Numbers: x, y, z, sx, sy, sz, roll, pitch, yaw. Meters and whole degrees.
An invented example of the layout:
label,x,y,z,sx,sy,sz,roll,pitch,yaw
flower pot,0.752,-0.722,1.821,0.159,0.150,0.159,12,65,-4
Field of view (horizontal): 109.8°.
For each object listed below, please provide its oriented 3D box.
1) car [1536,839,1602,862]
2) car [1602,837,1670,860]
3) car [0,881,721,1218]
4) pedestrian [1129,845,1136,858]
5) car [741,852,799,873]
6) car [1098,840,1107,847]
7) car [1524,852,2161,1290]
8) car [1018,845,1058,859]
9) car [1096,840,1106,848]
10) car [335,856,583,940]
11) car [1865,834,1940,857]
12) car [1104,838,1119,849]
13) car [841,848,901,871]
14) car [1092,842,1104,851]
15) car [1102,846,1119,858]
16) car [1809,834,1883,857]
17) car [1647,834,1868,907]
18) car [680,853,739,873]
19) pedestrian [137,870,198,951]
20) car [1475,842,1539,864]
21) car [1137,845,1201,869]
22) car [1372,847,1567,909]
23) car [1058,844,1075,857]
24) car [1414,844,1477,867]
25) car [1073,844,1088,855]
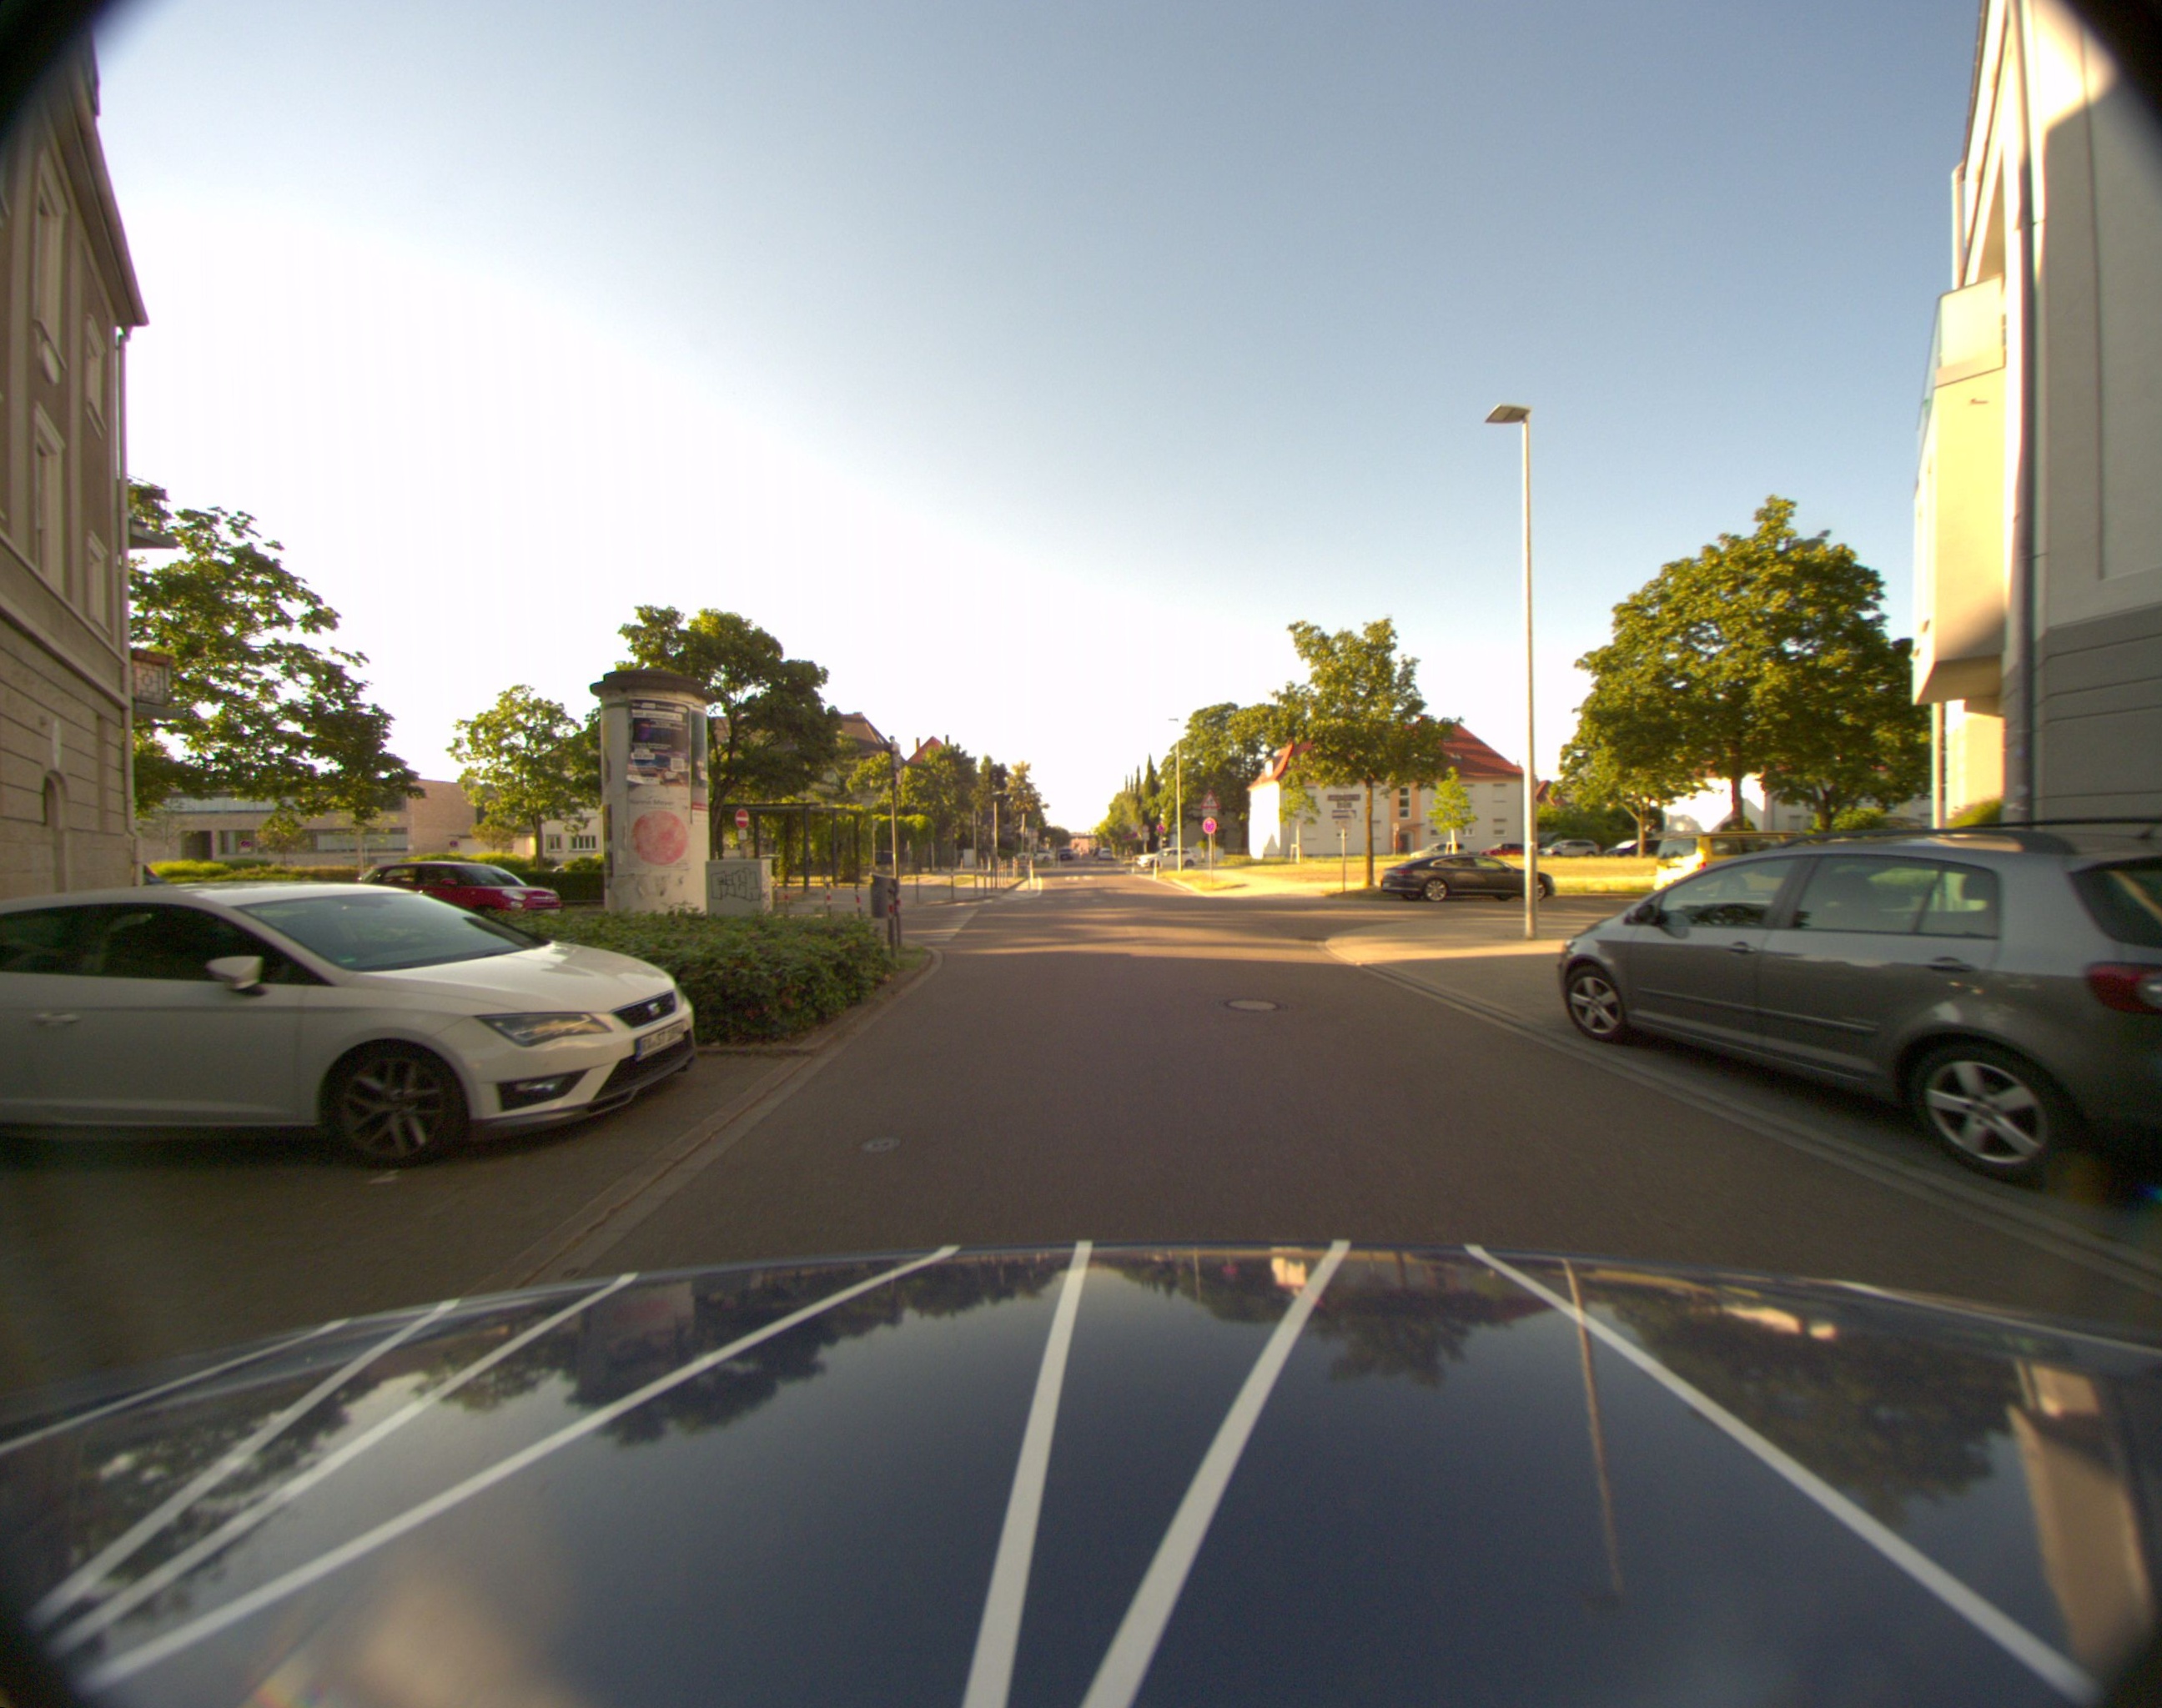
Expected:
label,x,y,z,sx,sy,sz,roll,pitch,yaw
car,38.228,-0.296,59.564,3.998,1.685,1.851,-1,-1,-2
car,43.633,-0.392,59.820,3.998,1.685,1.851,-1,-1,-2
car,-4.629,0.964,4.520,4.059,1.497,1.861,0,1,-1
pedestrian,8.079,-0.355,119.384,0.898,2.002,0.692,-1,1,-2
car,-24.481,0.634,59.924,3.769,1.517,1.770,-1,2,2
car,5.040,-2.403,176.578,1.970,1.604,4.246,-1,1,-1
car,4.919,0.809,4.671,1.889,1.582,4.089,-1,1,-2
car,-5.358,-0.274,94.835,4.835,1.604,1.971,0,1,-2
car,4.223,-2.056,160.781,1.971,1.604,4.245,-1,1,-2
car,-13.910,0.958,17.184,4.085,1.730,1.812,-1,-1,-2
car,64.907,-0.680,60.082,3.998,1.685,1.851,-1,-1,-2
car,4.608,-1.545,114.217,1.970,1.604,4.246,-1,1,-1
car,-16.453,0.439,59.567,4.214,1.631,1.823,-1,-2,-2
car,3.240,-1.379,145.250,1.970,1.604,4.246,-1,1,-1
car,3.860,-0.292,100.150,1.970,1.604,4.246,-1,1,-1
car,60.398,-0.632,60.014,3.998,1.685,1.851,-1,-1,-2
car,19.929,0.507,22.558,4.691,2.001,2.034,-1,-2,-1
car,-29.314,0.723,60.069,3.757,1.509,1.735,-1,1,0
pedestrian,-18.172,1.115,15.130,0.819,1.535,0.744,-4,-2,42
car,33.574,-0.077,59.893,3.998,1.685,1.851,-1,-1,-2
car,6.435,0.203,55.709,4.302,1.685,1.869,-1,-1,-12
car,11.377,0.668,22.458,4.835,1.659,1.788,-1,1,1
car,-1.939,-0.429,99.150,1.971,1.604,4.245,-1,1,-4
car,28.680,0.126,59.845,3.998,1.685,1.851,-1,-1,-2
car,-0.072,-0.692,112.822,1.971,1.604,4.245,-1,1,-4
